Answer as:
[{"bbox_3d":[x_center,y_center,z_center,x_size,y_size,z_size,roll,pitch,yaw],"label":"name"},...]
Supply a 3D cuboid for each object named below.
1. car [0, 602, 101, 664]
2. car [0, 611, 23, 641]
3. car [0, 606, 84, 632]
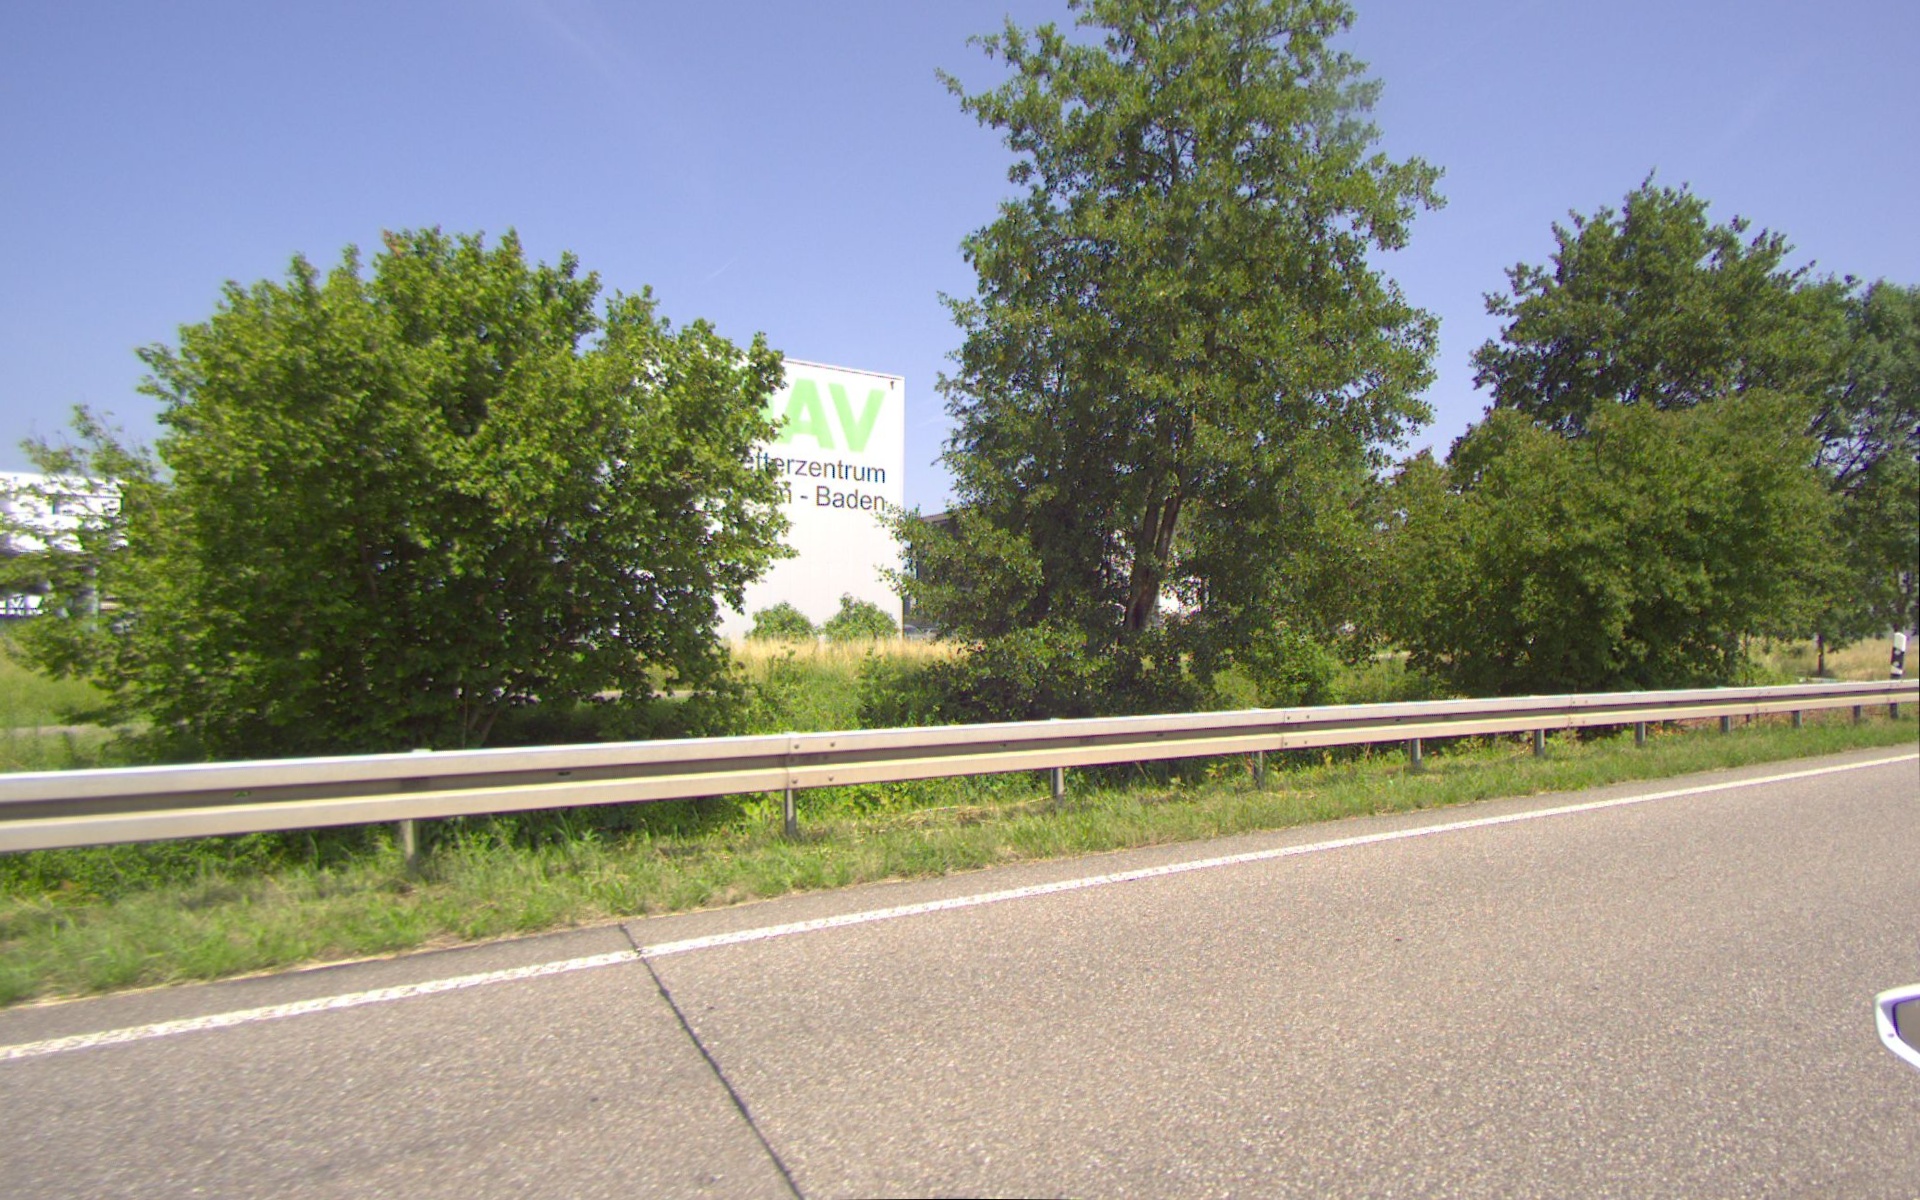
[{"bbox_3d":[-26.305,0.880,27.453,3.953,1.598,1.984,1,0,-30],"label":"car"},{"bbox_3d":[-54.771,1.431,55.585,3.957,1.598,1.982,1,0,-33],"label":"car"},{"bbox_3d":[-61.109,1.257,66.765,3.953,1.598,1.984,1,0,-30],"label":"car"}]
